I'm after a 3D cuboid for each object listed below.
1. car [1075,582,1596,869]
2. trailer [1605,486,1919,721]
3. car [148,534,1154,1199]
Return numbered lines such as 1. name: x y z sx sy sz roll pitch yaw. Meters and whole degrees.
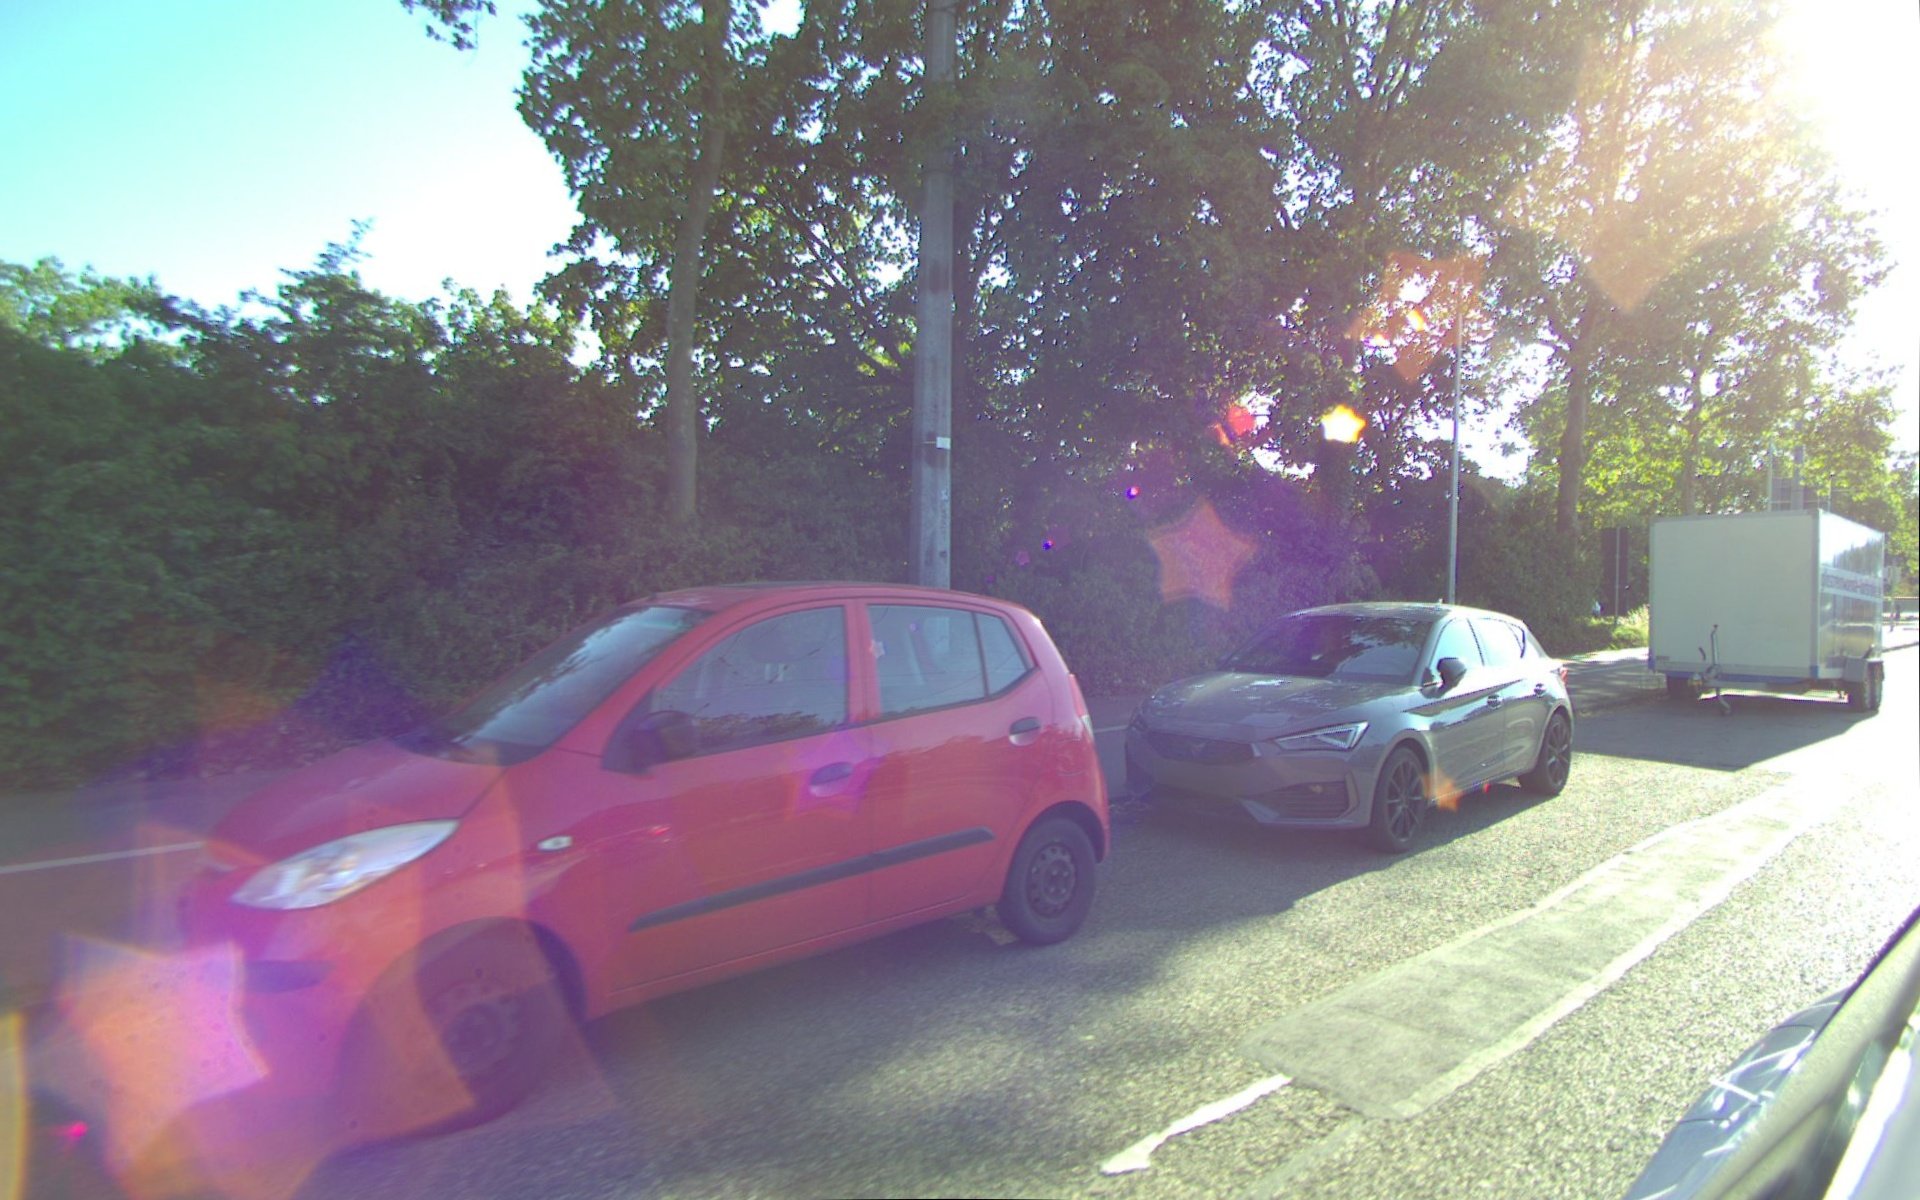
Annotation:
1. car: 2.870 0.636 7.262 4.094 1.475 1.811 0 0 -42
2. trailer: 11.641 0.012 14.419 5.837 2.728 2.257 0 1 -37
3. car: -1.003 0.603 4.128 3.576 1.556 1.643 0 1 -40
